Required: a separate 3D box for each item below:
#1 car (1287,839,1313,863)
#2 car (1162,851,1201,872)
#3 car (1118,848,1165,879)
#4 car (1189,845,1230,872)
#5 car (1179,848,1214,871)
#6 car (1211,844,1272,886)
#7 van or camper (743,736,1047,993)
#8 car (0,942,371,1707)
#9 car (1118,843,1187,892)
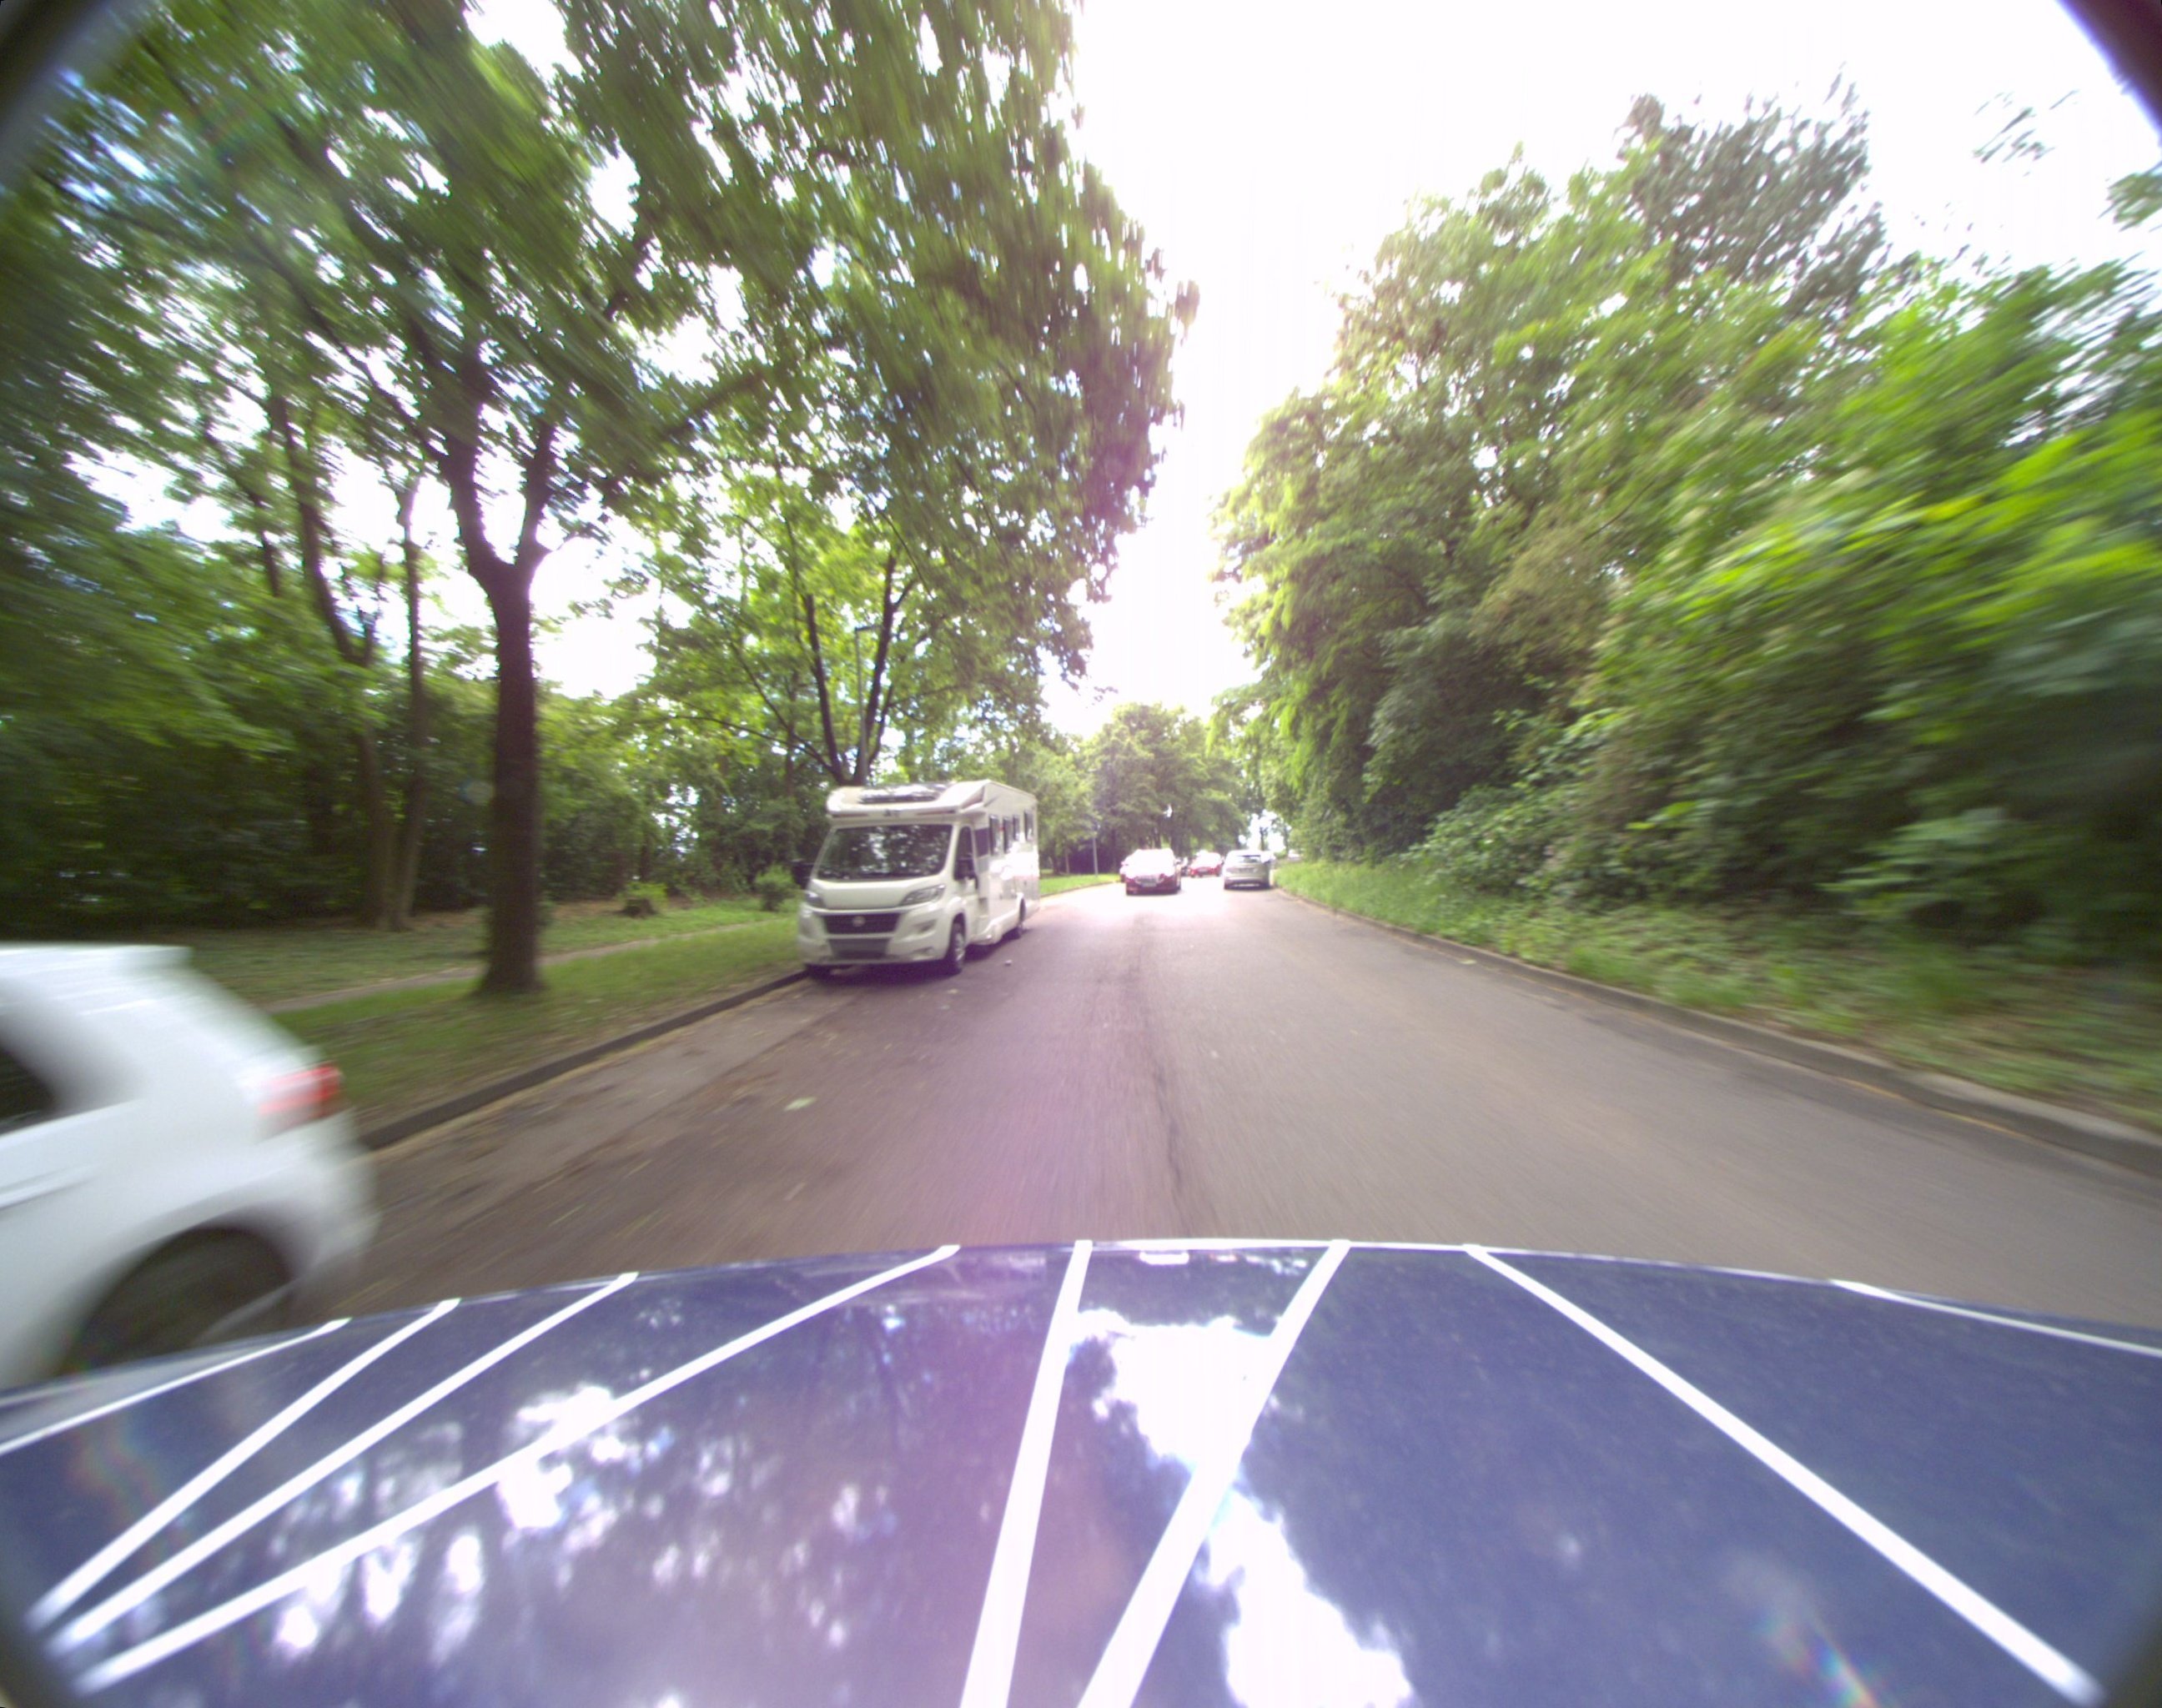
[{"bbox_3d":[19.116,-0.291,66.091,1.823,1.717,4.316,-9,0,18],"label":"car"},{"bbox_3d":[7.213,0.481,54.093,1.712,1.249,4.683,-3,1,20],"label":"car"},{"bbox_3d":[3.517,0.484,43.268,1.713,1.543,4.682,-3,1,16],"label":"car"},{"bbox_3d":[7.891,0.238,46.359,1.956,1.464,4.682,-3,1,15],"label":"car"},{"bbox_3d":[8.979,0.389,58.662,1.712,1.502,4.683,-3,1,20],"label":"car"},{"bbox_3d":[6.336,0.392,30.377,1.798,1.499,4.001,-2,0,4],"label":"car"},{"bbox_3d":[-2.418,0.100,12.777,2.429,2.962,7.395,-3,1,6],"label":"van or camper"},{"bbox_3d":[-3.086,1.071,0.300,1.693,1.474,4.106,-3,1,-1],"label":"car"},{"bbox_3d":[2.808,0.454,28.937,2.002,1.599,4.680,-3,1,12],"label":"car"}]
